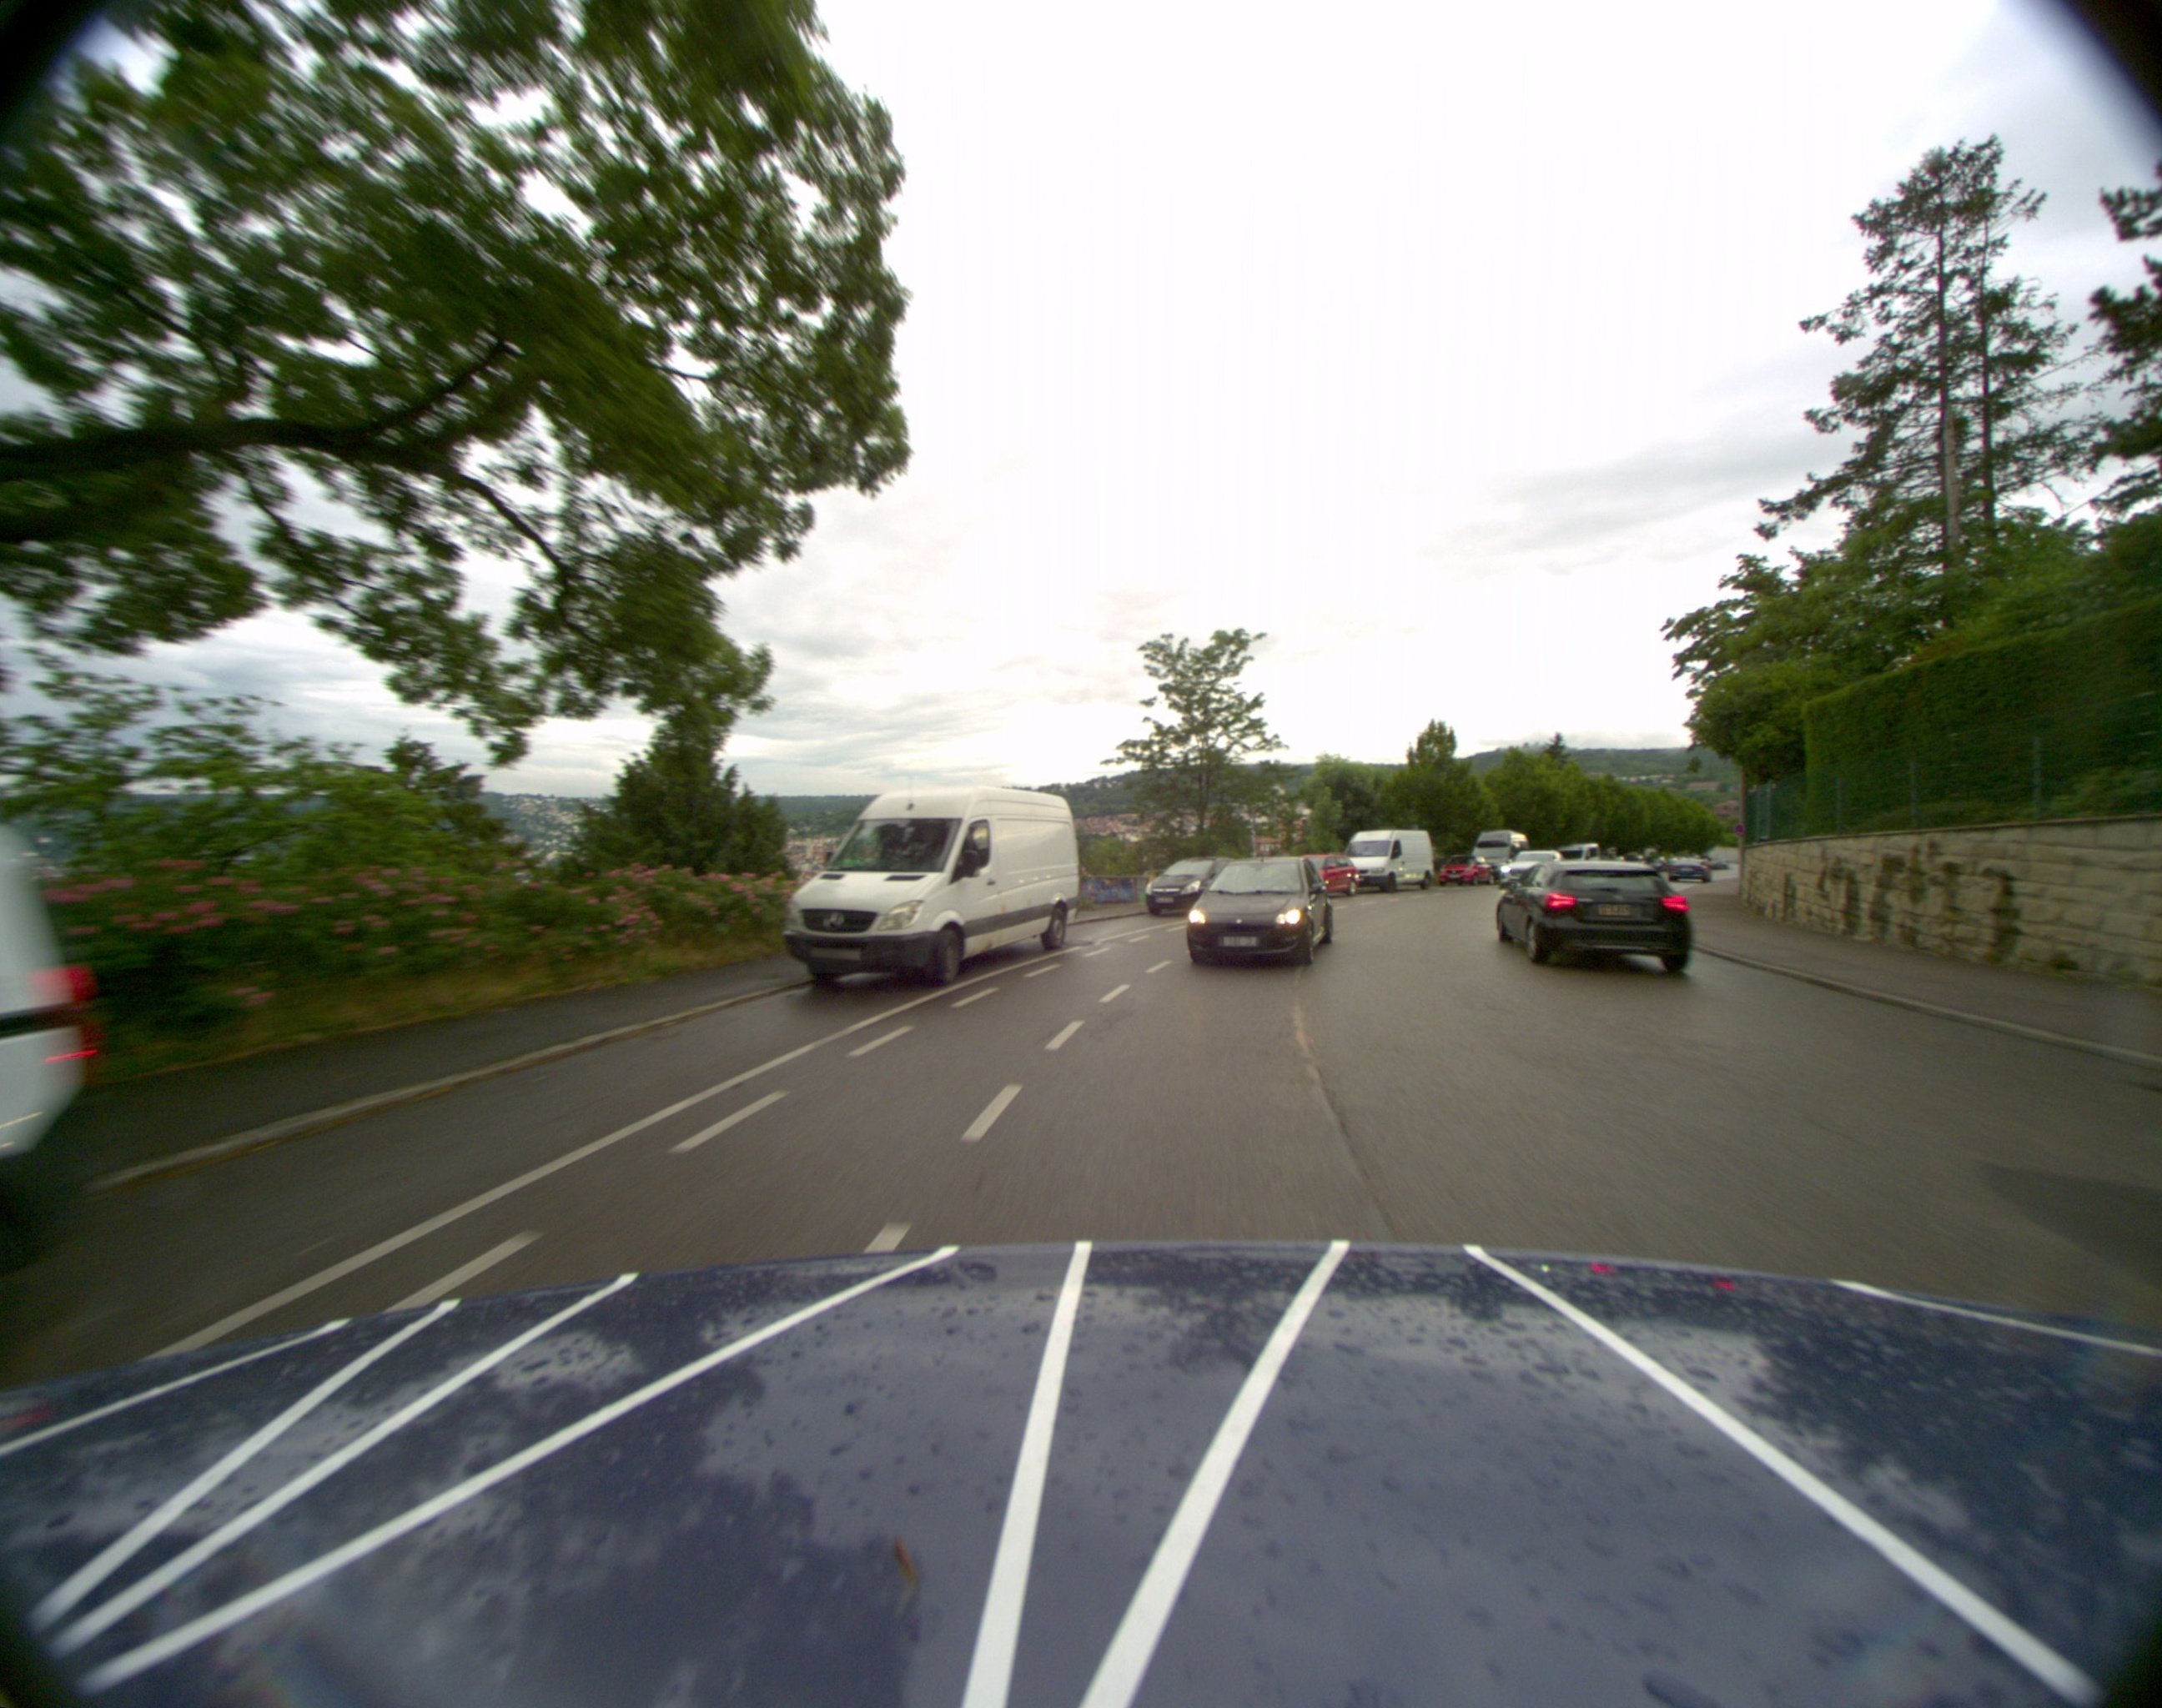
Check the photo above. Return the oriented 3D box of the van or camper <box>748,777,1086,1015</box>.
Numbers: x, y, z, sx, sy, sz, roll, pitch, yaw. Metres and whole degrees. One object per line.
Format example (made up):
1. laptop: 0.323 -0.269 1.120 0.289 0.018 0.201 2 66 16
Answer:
1. van or camper: -1.911 0.444 11.312 2.068 2.565 5.896 0 0 20

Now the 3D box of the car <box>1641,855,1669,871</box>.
1. car: 58.911 0.911 77.929 4.210 1.494 1.721 0 -2 -45

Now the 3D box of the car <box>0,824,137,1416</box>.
1. car: -4.127 0.818 0.416 1.751 1.810 4.422 0 0 -2

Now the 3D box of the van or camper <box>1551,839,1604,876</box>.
1. van or camper: 36.398 0.307 55.670 2.165 2.539 5.628 -3 -2 44

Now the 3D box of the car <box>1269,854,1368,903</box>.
1. car: 8.273 0.796 26.260 1.621 1.531 4.224 -1 -1 42

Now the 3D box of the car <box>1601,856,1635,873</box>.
1. car: 47.488 0.880 67.153 4.334 1.426 1.721 0 -2 -45

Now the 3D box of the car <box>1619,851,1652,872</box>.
1. car: 51.307 0.717 70.275 4.412 1.843 1.721 0 -2 -45

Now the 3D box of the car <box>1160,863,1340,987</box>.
1. car: 2.817 0.918 11.805 1.780 1.477 4.413 -1 0 25

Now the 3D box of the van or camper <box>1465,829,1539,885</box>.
1. van or camper: 23.385 0.202 42.117 2.125 2.892 5.740 -1 -1 44

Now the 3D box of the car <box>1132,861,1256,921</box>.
1. car: 3.170 0.957 20.628 1.696 1.435 3.956 -2 -1 35

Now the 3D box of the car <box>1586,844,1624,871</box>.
1. car: 42.380 0.281 61.407 4.412 2.125 1.721 0 -2 -45

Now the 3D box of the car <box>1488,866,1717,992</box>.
1. car: 7.421 0.929 11.303 1.789 1.426 4.120 0 0 19

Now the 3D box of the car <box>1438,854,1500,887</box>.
1. car: 19.285 0.804 37.696 1.683 1.531 3.841 -1 -1 44

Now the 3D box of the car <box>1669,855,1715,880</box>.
1. car: 37.081 0.782 46.086 1.807 1.422 4.263 2 1 43

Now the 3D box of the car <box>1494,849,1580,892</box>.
1. car: 20.610 0.681 34.252 2.186 1.698 4.892 -1 1 45

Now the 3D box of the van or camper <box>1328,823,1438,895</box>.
1. van or camper: 12.206 0.218 30.473 2.075 2.645 5.608 -1 -1 44
